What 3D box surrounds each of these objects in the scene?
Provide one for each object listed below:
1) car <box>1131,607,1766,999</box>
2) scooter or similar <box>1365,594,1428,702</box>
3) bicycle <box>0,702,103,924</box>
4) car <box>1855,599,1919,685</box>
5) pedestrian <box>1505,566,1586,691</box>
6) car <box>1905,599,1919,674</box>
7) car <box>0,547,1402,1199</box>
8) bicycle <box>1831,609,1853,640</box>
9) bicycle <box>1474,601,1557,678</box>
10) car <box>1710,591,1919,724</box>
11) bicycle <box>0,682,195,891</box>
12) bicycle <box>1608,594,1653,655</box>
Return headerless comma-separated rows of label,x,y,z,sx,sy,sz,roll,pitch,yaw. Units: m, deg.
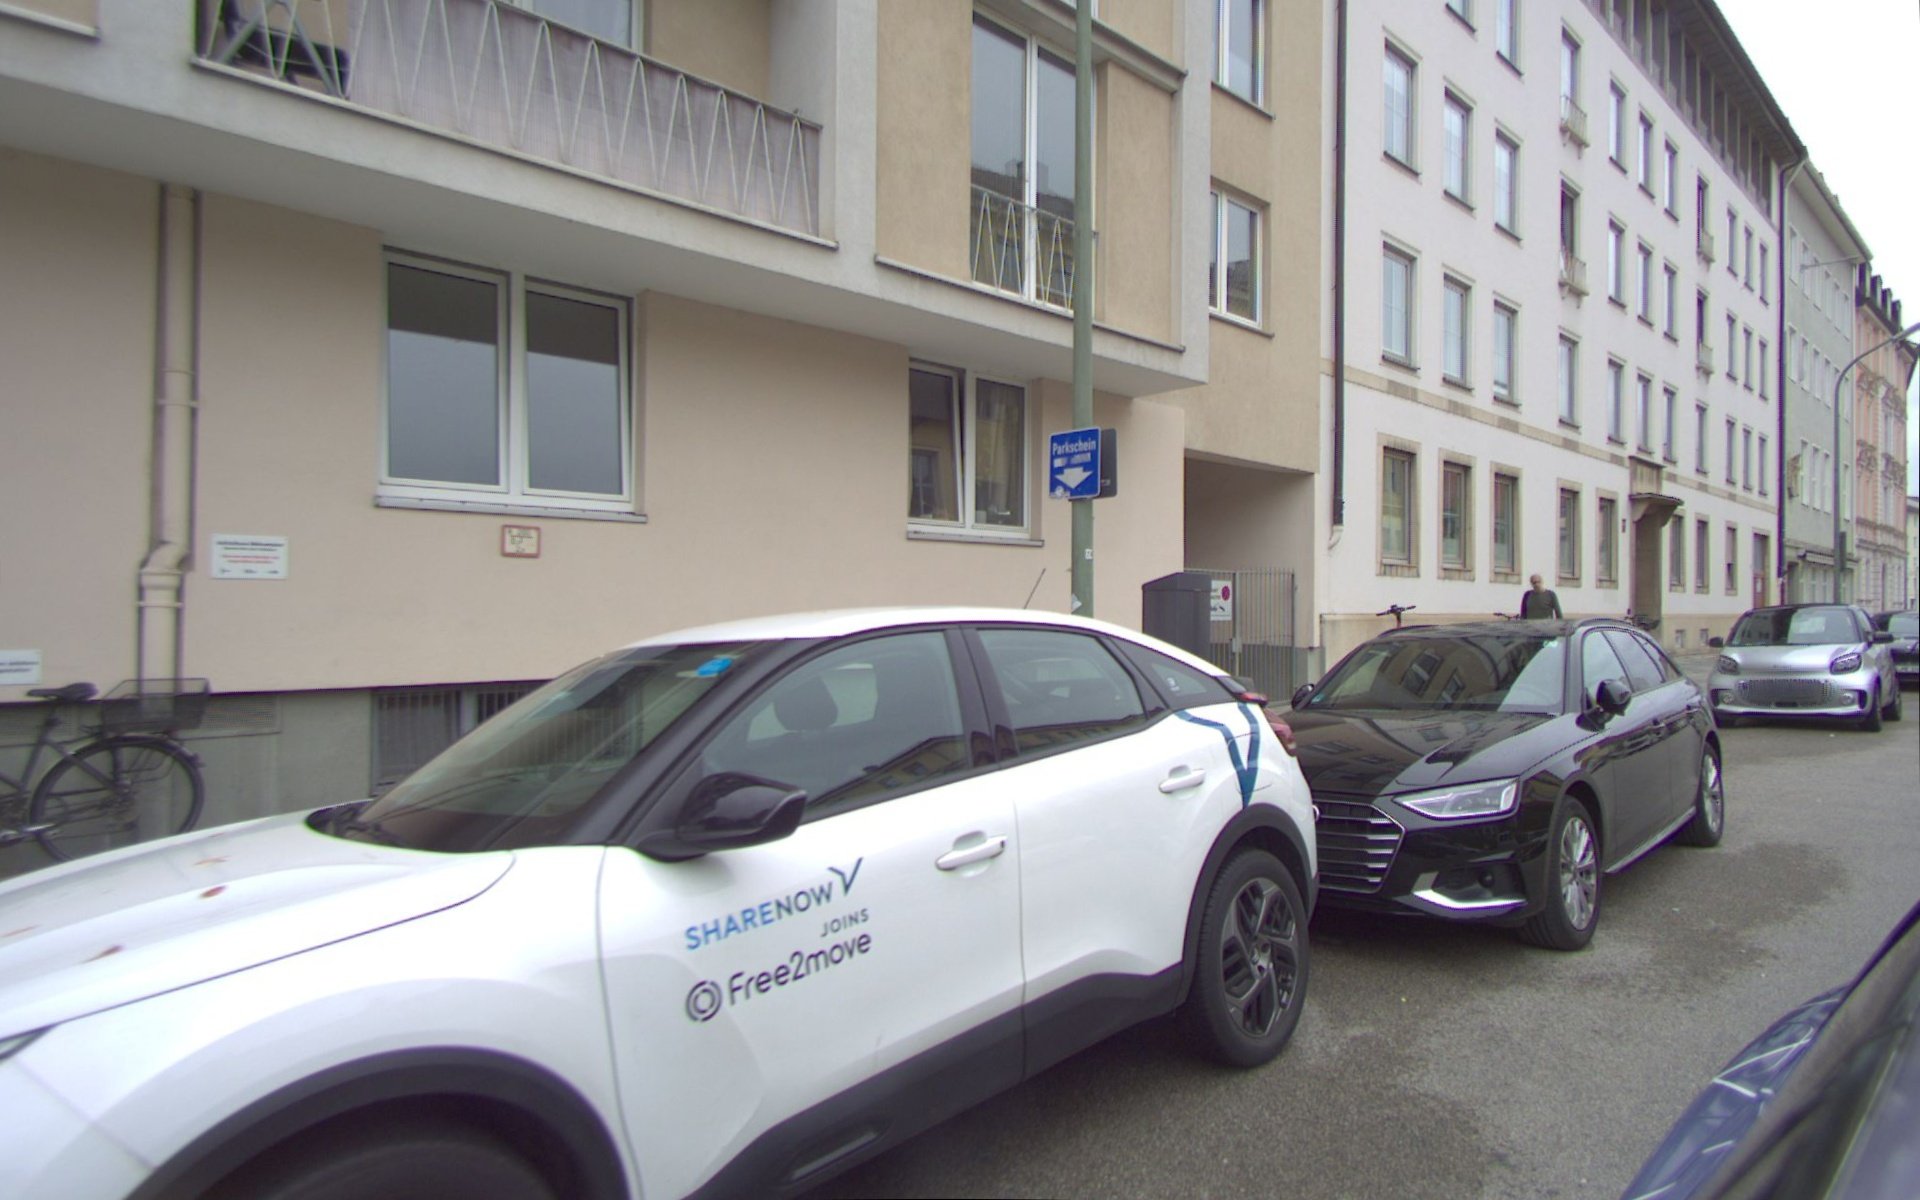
car,3.211,0.770,6.003,4.870,1.406,1.746,0,-2,-43
scooter or similar,6.142,0.632,14.203,0.438,1.375,1.569,0,2,37
bicycle,-4.581,0.956,4.340,1.367,0.916,0.378,0,-1,-41
car,18.913,0.749,19.539,5.228,1.504,1.804,0,-3,-42
pedestrian,8.780,0.410,15.174,0.888,1.785,0.724,1,2,-40
car,22.852,0.768,22.876,4.553,1.610,1.647,0,-3,-41
car,-0.547,0.719,2.929,4.503,1.508,1.695,0,-2,-43
bicycle,33.545,0.927,38.494,1.916,1.172,0.385,1,0,-42
bicycle,9.382,0.640,17.062,2.065,1.233,0.530,0,-1,-40
car,11.117,0.691,13.080,2.830,1.515,1.652,0,-3,-41
bicycle,-4.584,0.903,4.911,1.367,0.916,0.378,0,-1,-41
bicycle,14.324,0.503,21.615,0.512,1.238,1.958,1,0,42
